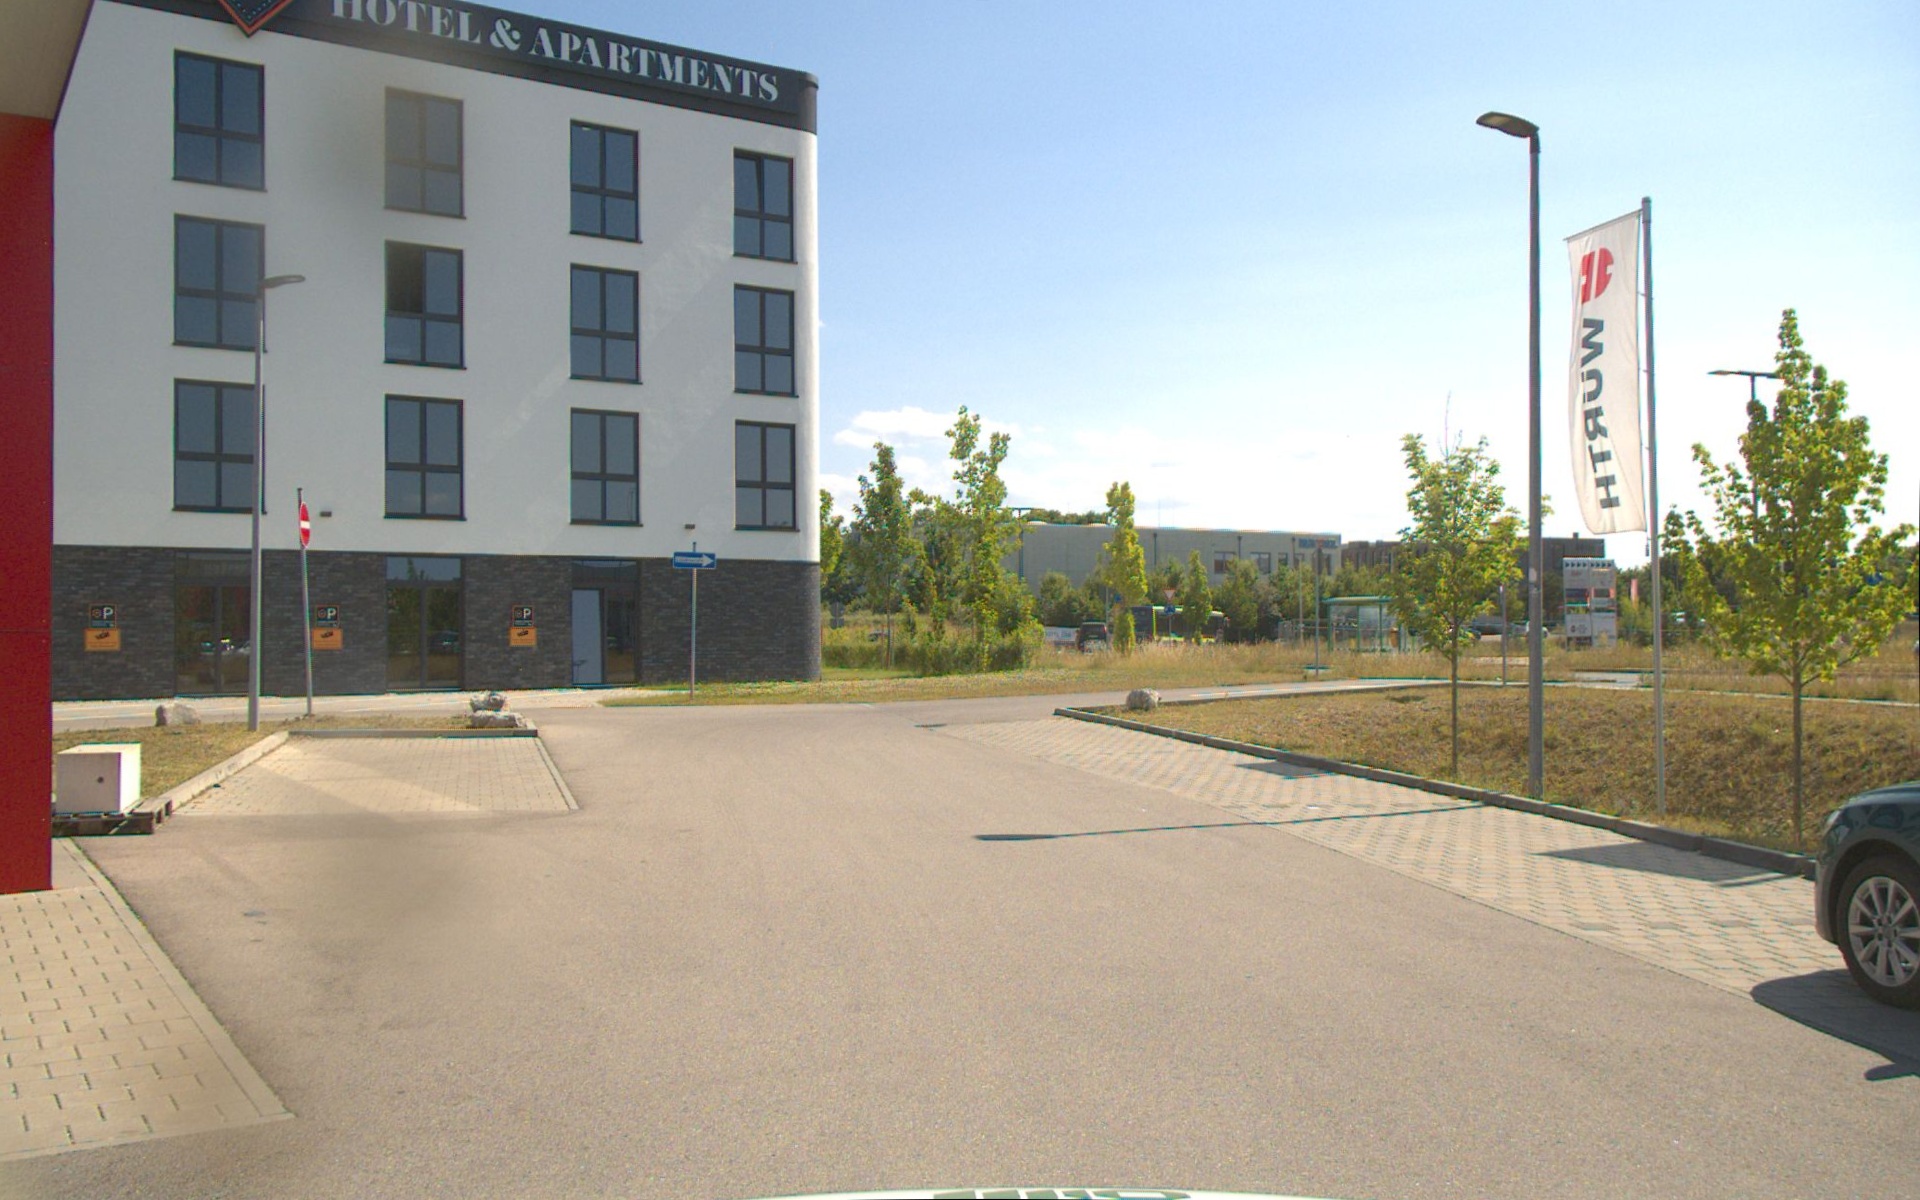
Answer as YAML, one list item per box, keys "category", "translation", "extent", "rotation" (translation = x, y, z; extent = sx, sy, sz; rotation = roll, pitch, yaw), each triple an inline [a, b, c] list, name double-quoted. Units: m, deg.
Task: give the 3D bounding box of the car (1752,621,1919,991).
- category: "car"
  translation: [4.905, 0.820, 5.767]
  extent: [1.806, 1.475, 4.218]
  rotation: [0, 0, -9]

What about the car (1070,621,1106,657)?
- category: "car"
  translation: [6.968, 2.088, 89.723]
  extent: [1.783, 1.892, 4.003]
  rotation: [0, -1, 7]

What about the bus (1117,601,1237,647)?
- category: "bus"
  translation: [14.203, 1.492, 107.239]
  extent: [2.529, 2.783, 11.522]
  rotation: [-1, -1, 36]

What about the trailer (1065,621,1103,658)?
- category: "trailer"
  translation: [6.464, 2.034, 85.747]
  extent: [1.783, 1.892, 4.003]
  rotation: [0, -1, 7]

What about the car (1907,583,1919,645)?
- category: "car"
  translation: [26.173, 0.371, 42.438]
  extent: [4.157, 1.543, 1.971]
  rotation: [1, -1, -40]
